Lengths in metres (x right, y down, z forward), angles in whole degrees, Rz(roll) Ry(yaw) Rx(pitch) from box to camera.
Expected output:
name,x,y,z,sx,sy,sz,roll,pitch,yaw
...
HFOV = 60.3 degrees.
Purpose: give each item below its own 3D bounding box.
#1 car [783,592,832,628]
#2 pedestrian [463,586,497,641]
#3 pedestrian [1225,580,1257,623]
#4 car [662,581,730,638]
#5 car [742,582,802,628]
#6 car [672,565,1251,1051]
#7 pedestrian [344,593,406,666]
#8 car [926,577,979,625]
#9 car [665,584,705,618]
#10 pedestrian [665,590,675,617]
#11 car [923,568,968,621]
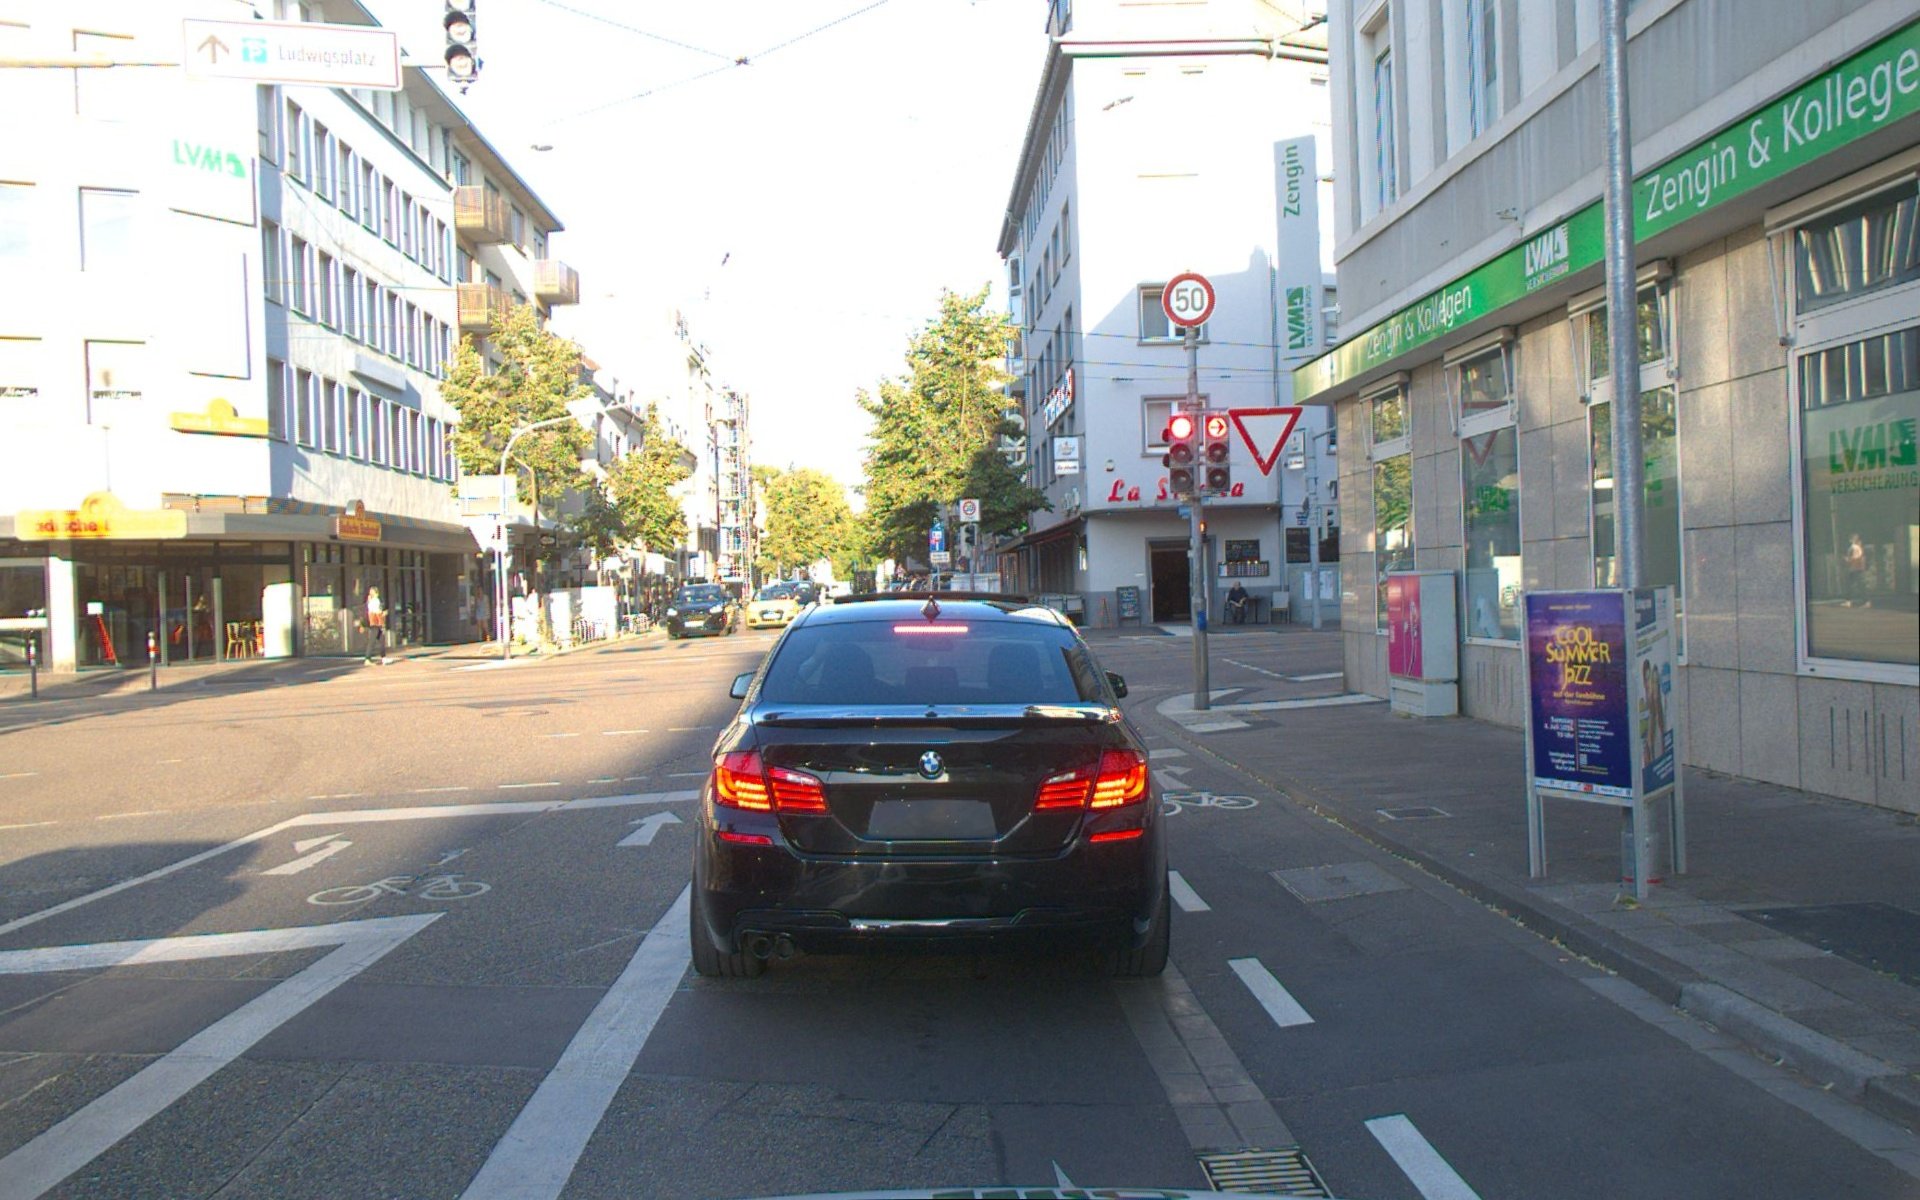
name,x,y,z,sx,sy,sz,roll,pitch,yaw
car,-5.946,0.370,64.341,1.701,1.315,3.993,-2,1,-8
pedestrian,-15.281,0.415,52.691,0.807,1.705,0.871,-2,0,-3
pedestrian,7.885,0.048,46.430,0.683,1.177,0.843,-2,0,-4
car,-8.275,0.266,52.101,1.956,1.646,3.993,-2,1,-8
car,-6.585,0.156,57.564,1.956,1.467,3.993,-2,1,-8
car,-0.103,0.663,7.632,1.865,1.567,4.447,1,1,-3
pedestrian,-12.897,0.652,36.462,0.893,1.564,0.943,-2,0,43
car,-0.283,0.033,54.587,1.593,1.497,3.393,-1,0,-3
car,-13.079,0.030,78.811,1.701,1.487,3.993,-2,1,-8
pedestrian,-15.545,0.173,88.571,0.435,1.441,0.525,-2,0,-4
car,-0.548,-0.183,60.983,1.393,1.887,3.049,-1,0,-5
